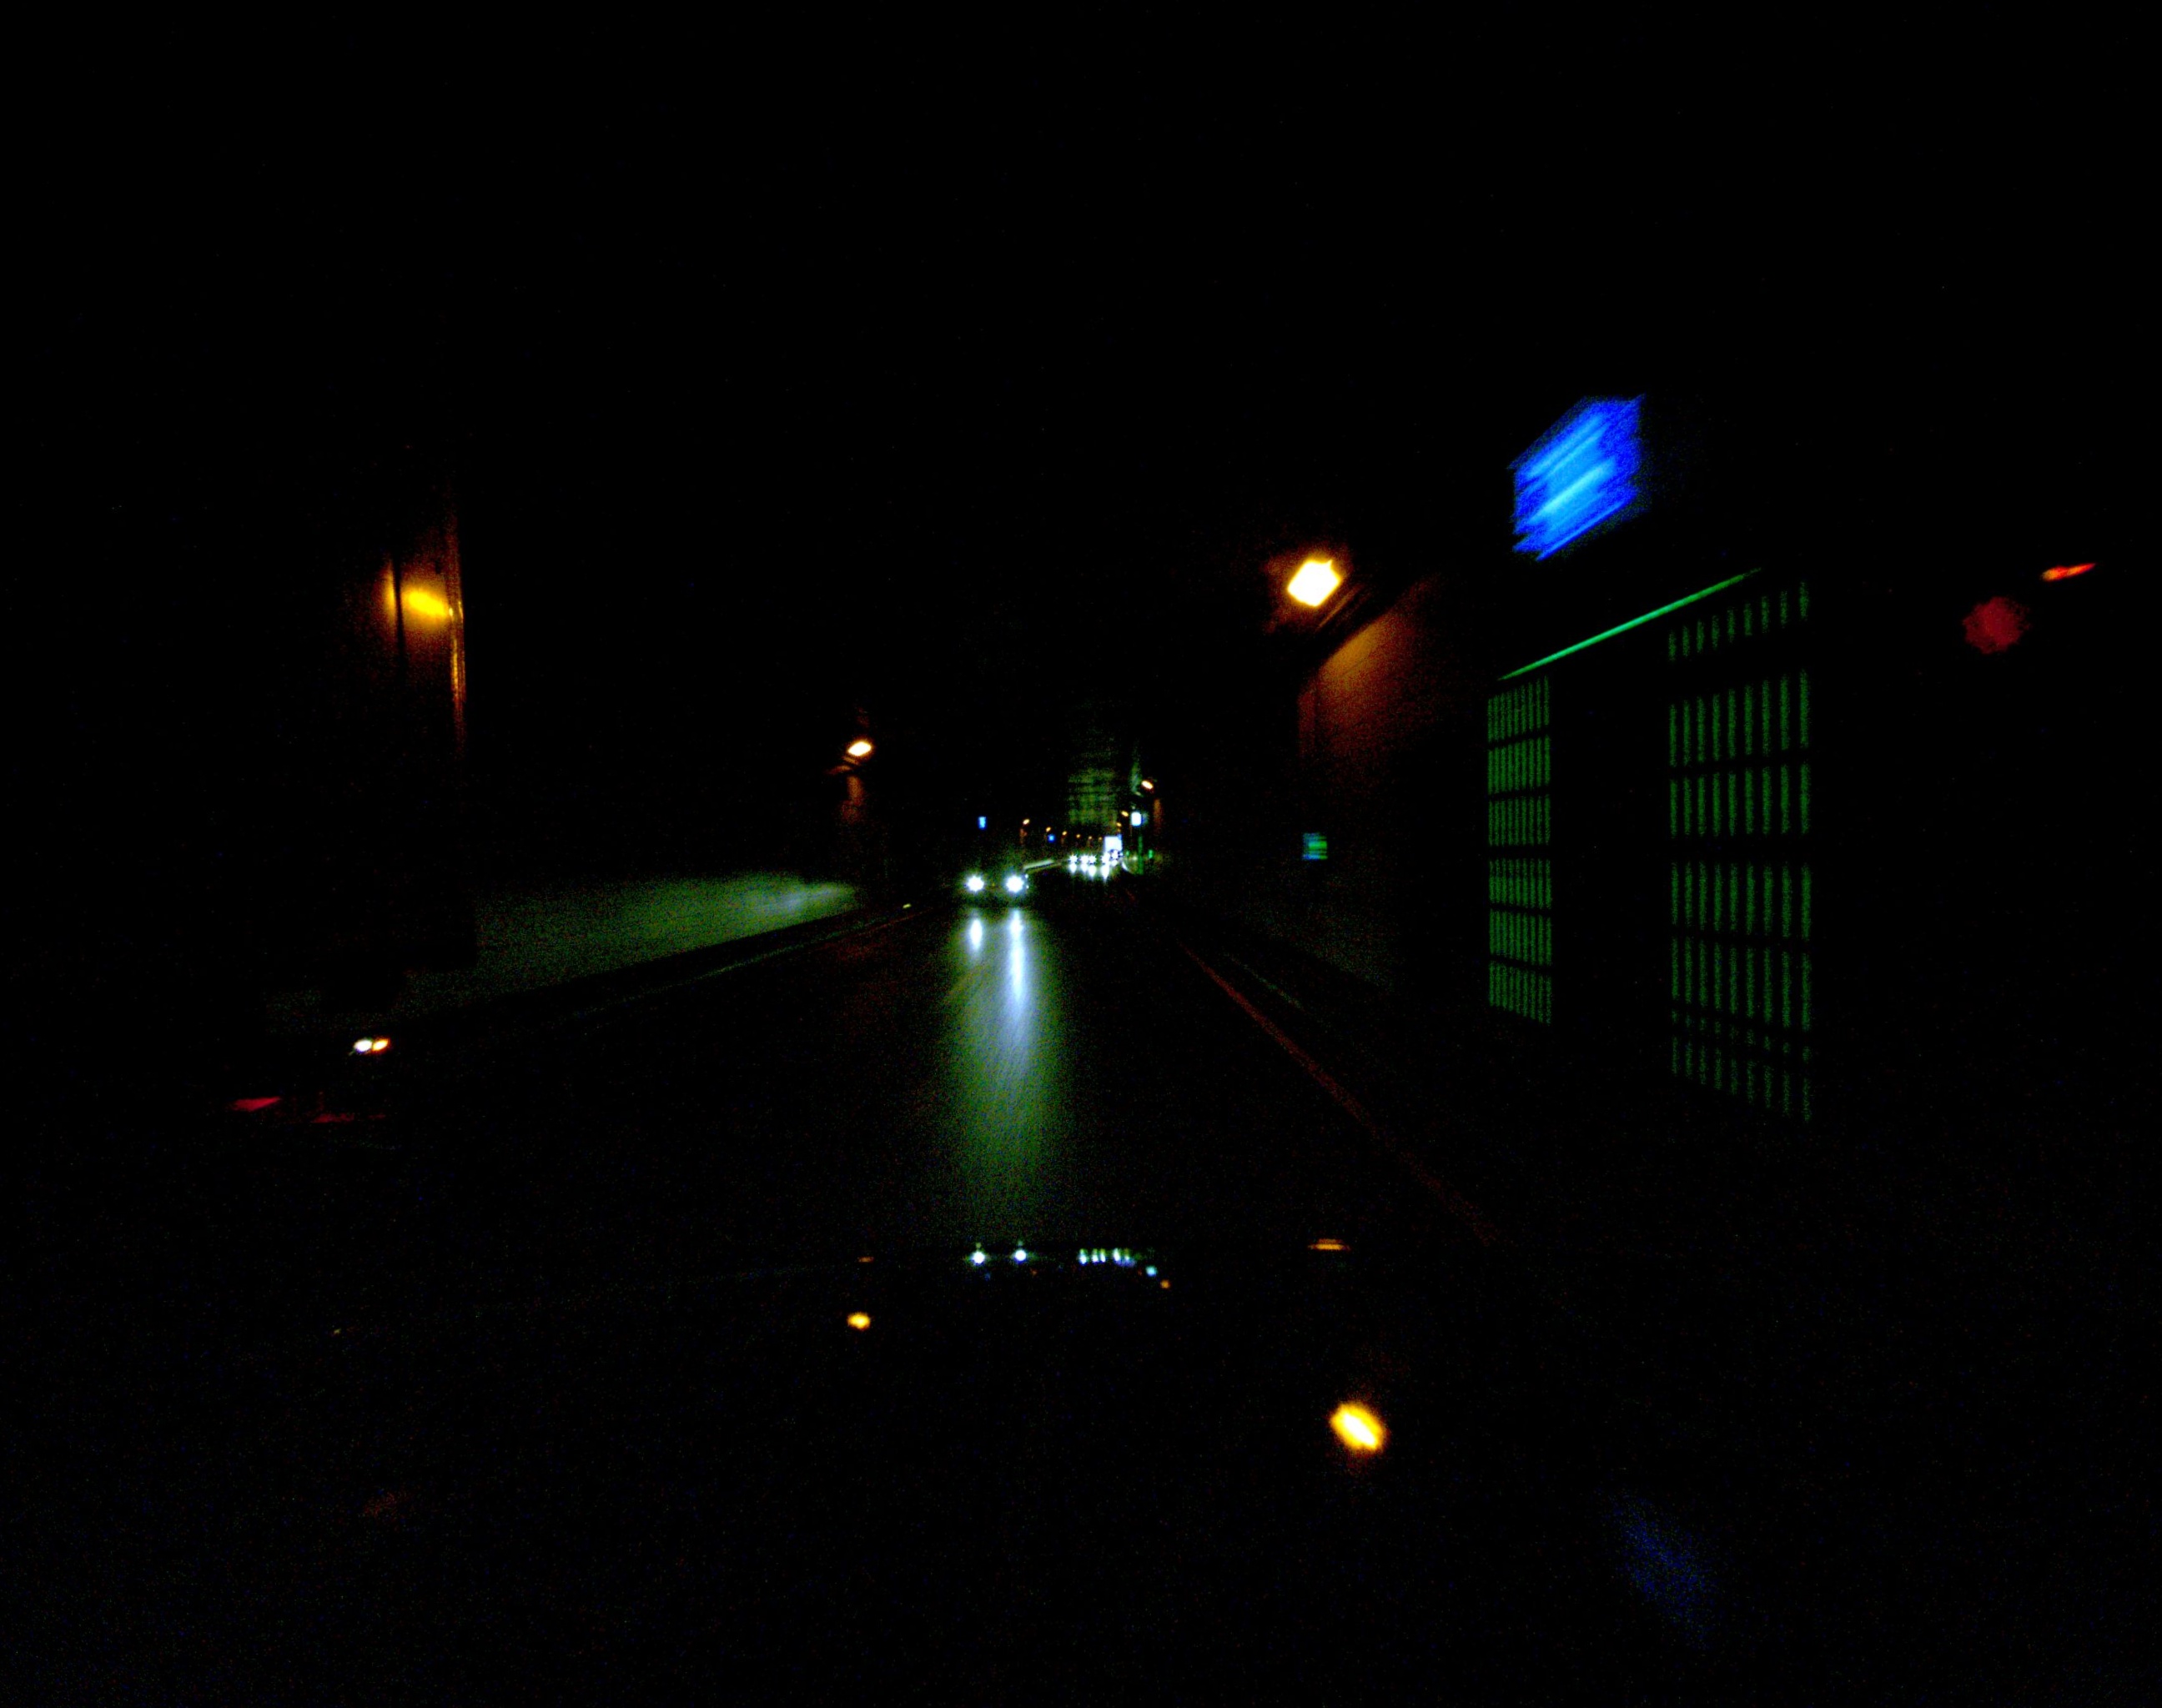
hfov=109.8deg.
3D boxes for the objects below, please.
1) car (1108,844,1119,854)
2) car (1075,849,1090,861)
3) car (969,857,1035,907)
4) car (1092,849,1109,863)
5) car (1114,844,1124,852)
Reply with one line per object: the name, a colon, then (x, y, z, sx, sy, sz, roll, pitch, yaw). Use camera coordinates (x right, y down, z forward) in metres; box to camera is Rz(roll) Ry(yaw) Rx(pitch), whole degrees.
car: (5.674, -0.887, 132.037, 1.714, 1.729, 3.999, -1, 2, 3)
car: (0.212, 0.167, 104.627, 1.735, 1.565, 4.001, -2, 0, 4)
car: (-2.548, 0.866, 25.268, 1.735, 1.395, 3.798, -2, 1, 0)
car: (2.376, 0.211, 91.198, 1.819, 1.589, 4.001, 0, 0, 4)
car: (8.321, -1.359, 165.203, 1.810, 1.576, 4.002, -2, 0, 8)
